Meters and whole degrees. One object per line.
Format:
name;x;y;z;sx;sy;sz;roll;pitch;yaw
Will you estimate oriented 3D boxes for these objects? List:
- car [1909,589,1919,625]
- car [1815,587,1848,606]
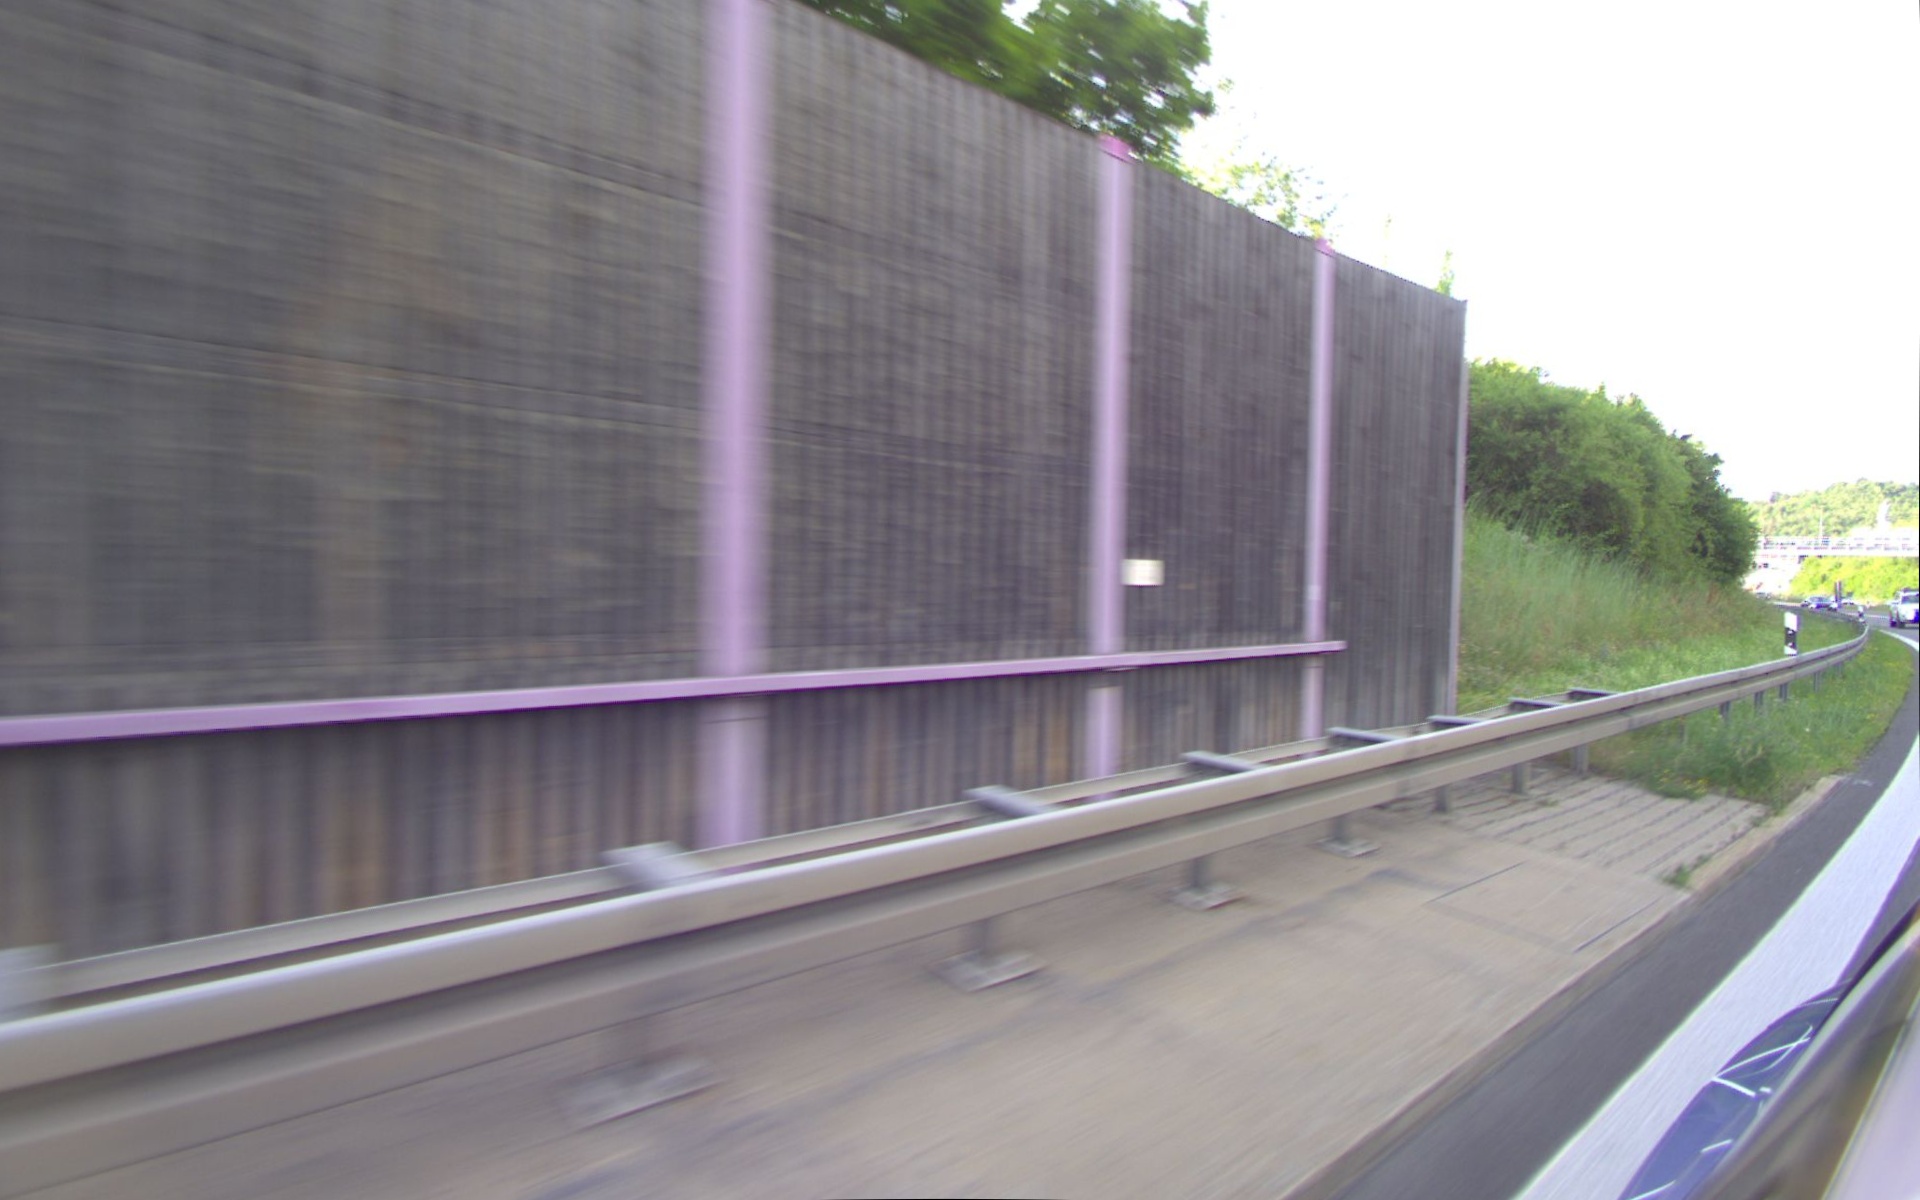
car;47.697;0.300;49.426;1.899;1.686;3.938;-2;-1;43
car;69.804;-0.292;81.117;1.610;1.478;3.617;0;1;35
